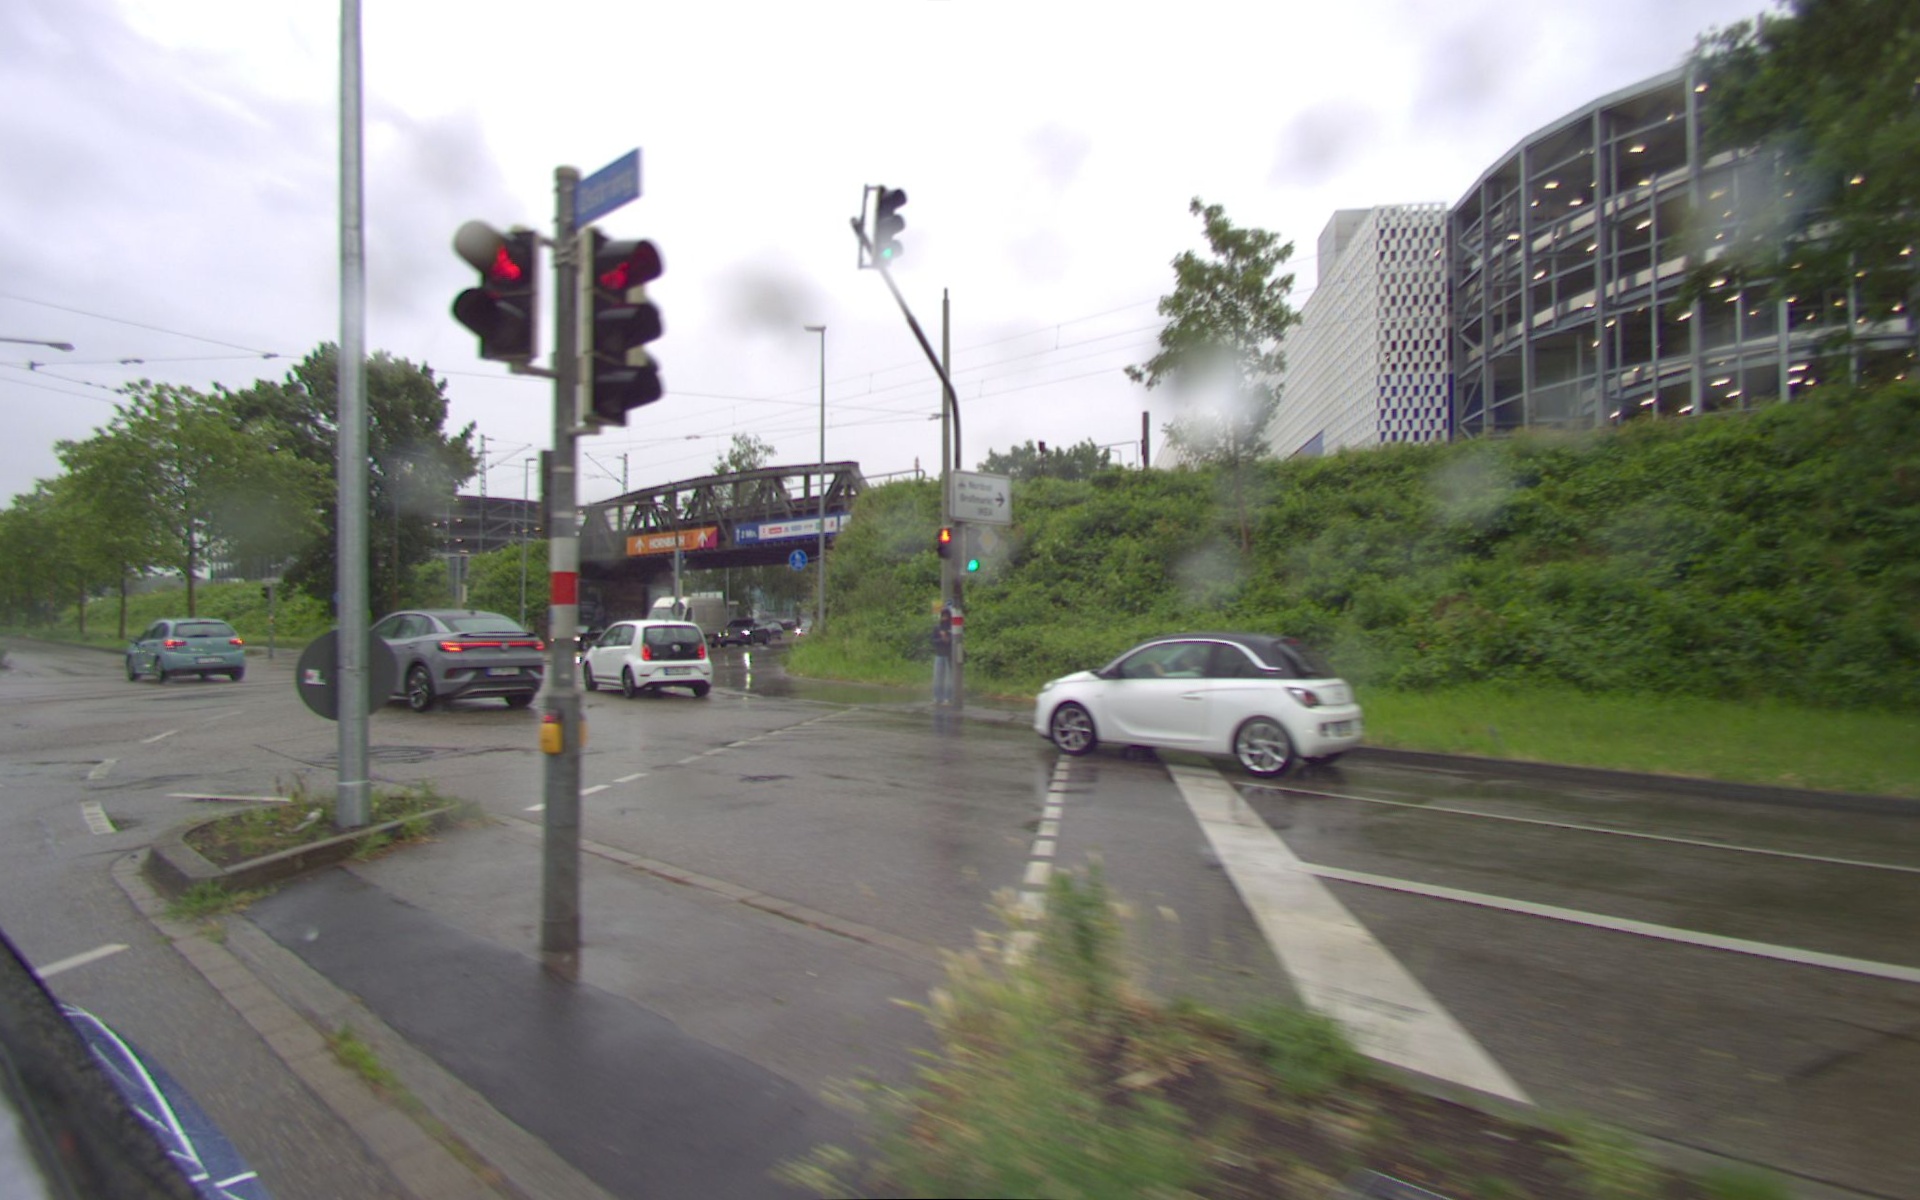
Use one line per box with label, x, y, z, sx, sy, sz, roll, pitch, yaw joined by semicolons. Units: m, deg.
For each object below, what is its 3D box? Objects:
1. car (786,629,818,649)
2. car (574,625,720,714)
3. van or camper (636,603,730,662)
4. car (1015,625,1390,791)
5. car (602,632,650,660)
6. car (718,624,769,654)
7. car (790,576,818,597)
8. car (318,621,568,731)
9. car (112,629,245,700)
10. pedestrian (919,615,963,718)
car;-12.733;3.118;81.744;1.674;1.566;3.798;0;-2;6
car;-6.371;1.326;20.391;1.627;1.614;3.573;2;-2;-38
van or camper;-13.327;1.547;49.214;1.976;2.682;6.914;0;-2;6
car;2.622;1.087;11.406;3.786;1.555;1.654;-2;-3;41
car;-16.954;2.303;51.511;1.668;1.358;3.475;0;-2;-8
car;-12.078;2.164;56.717;1.674;1.566;3.798;0;-2;6
car;-16.007;-1.359;104.077;1.975;2.029;3.993;0;0;6
car;-8.694;1.179;16.908;4.379;1.614;1.953;-1;-2;36
car;-19.117;1.509;24.714;3.618;1.614;1.676;-1;-2;37
pedestrian;-0.339;1.171;18.102;0.625;1.801;0.480;-1;-2;34
